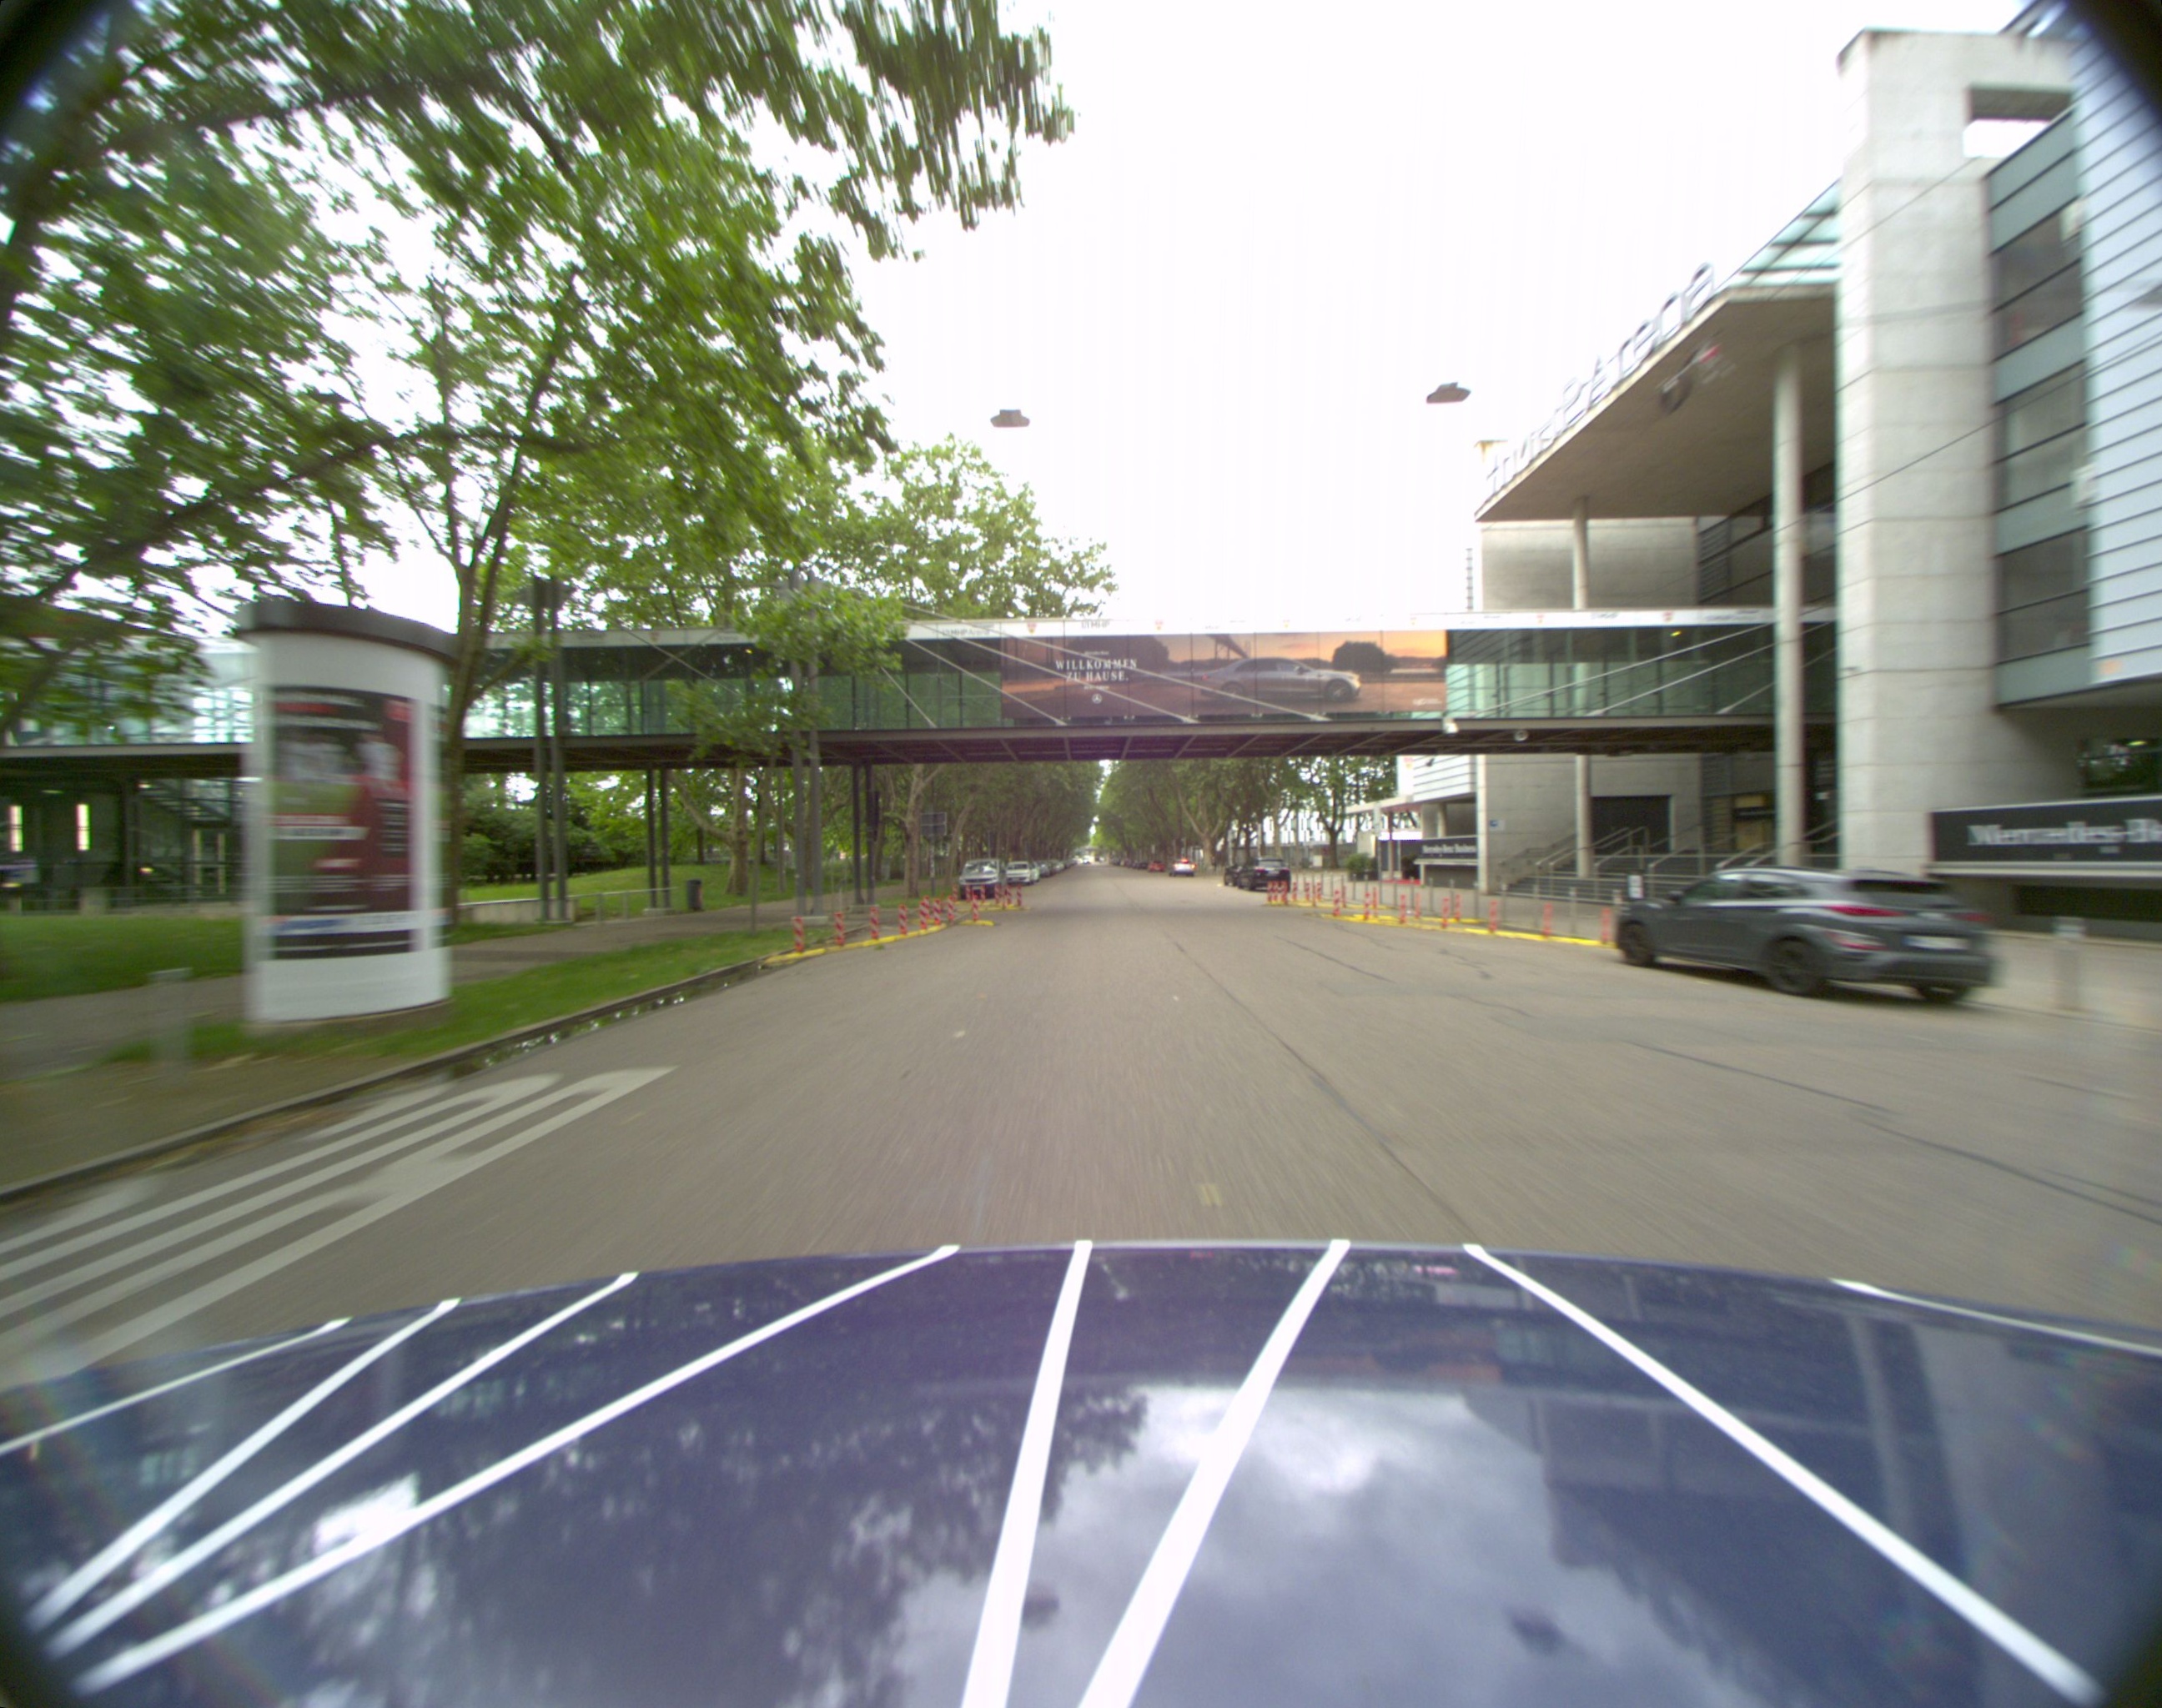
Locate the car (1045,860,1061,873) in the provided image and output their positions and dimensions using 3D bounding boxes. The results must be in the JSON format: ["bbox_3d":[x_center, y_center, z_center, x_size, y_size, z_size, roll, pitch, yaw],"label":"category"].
[{"bbox_3d":[-3.643,1.651,99.056,1.921,1.561,4.497,-1,0,-1],"label":"car"}]

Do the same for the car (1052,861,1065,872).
[{"bbox_3d":[-3.360,1.934,114.835,1.921,1.561,4.497,-1,0,-1],"label":"car"}]

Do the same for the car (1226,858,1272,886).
[{"bbox_3d":[9.723,1.016,44.275,1.781,1.461,4.144,3,0,0],"label":"car"}]

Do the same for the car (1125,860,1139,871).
[{"bbox_3d":[8.132,1.791,121.626,1.921,1.561,4.497,-1,0,-1],"label":"car"}]

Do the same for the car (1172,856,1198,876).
[{"bbox_3d":[9.198,1.026,67.355,1.757,1.652,4.000,-2,0,1],"label":"car"}]

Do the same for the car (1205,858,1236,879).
[{"bbox_3d":[10.675,1.058,58.225,1.661,1.461,3.803,3,0,0],"label":"car"}]

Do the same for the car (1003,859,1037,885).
[{"bbox_3d":[-4.058,1.177,51.109,1.921,1.561,4.497,-1,0,-1],"label":"car"}]

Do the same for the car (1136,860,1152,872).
[{"bbox_3d":[9.083,1.690,110.028,1.921,1.561,4.497,-1,0,-1],"label":"car"}]

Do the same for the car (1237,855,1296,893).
[{"bbox_3d":[9.333,0.943,38.635,1.929,1.720,4.233,3,0,0],"label":"car"}]

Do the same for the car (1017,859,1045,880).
[{"bbox_3d":[-3.890,1.176,59.995,1.921,1.561,4.497,-1,0,-1],"label":"car"}]

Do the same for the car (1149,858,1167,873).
[{"bbox_3d":[9.290,1.343,91.837,1.757,1.652,4.000,-2,0,1],"label":"car"}]

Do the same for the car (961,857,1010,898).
[{"bbox_3d":[-4.328,1.034,35.129,1.757,1.687,4.497,-1,0,-1],"label":"car"}]

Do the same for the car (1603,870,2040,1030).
[{"bbox_3d":[9.115,1.048,9.949,1.758,1.505,4.009,3,0,0],"label":"car"}]

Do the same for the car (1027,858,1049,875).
[{"bbox_3d":[-4.155,1.211,73.829,1.921,1.561,4.497,-1,0,-1],"label":"car"}]
